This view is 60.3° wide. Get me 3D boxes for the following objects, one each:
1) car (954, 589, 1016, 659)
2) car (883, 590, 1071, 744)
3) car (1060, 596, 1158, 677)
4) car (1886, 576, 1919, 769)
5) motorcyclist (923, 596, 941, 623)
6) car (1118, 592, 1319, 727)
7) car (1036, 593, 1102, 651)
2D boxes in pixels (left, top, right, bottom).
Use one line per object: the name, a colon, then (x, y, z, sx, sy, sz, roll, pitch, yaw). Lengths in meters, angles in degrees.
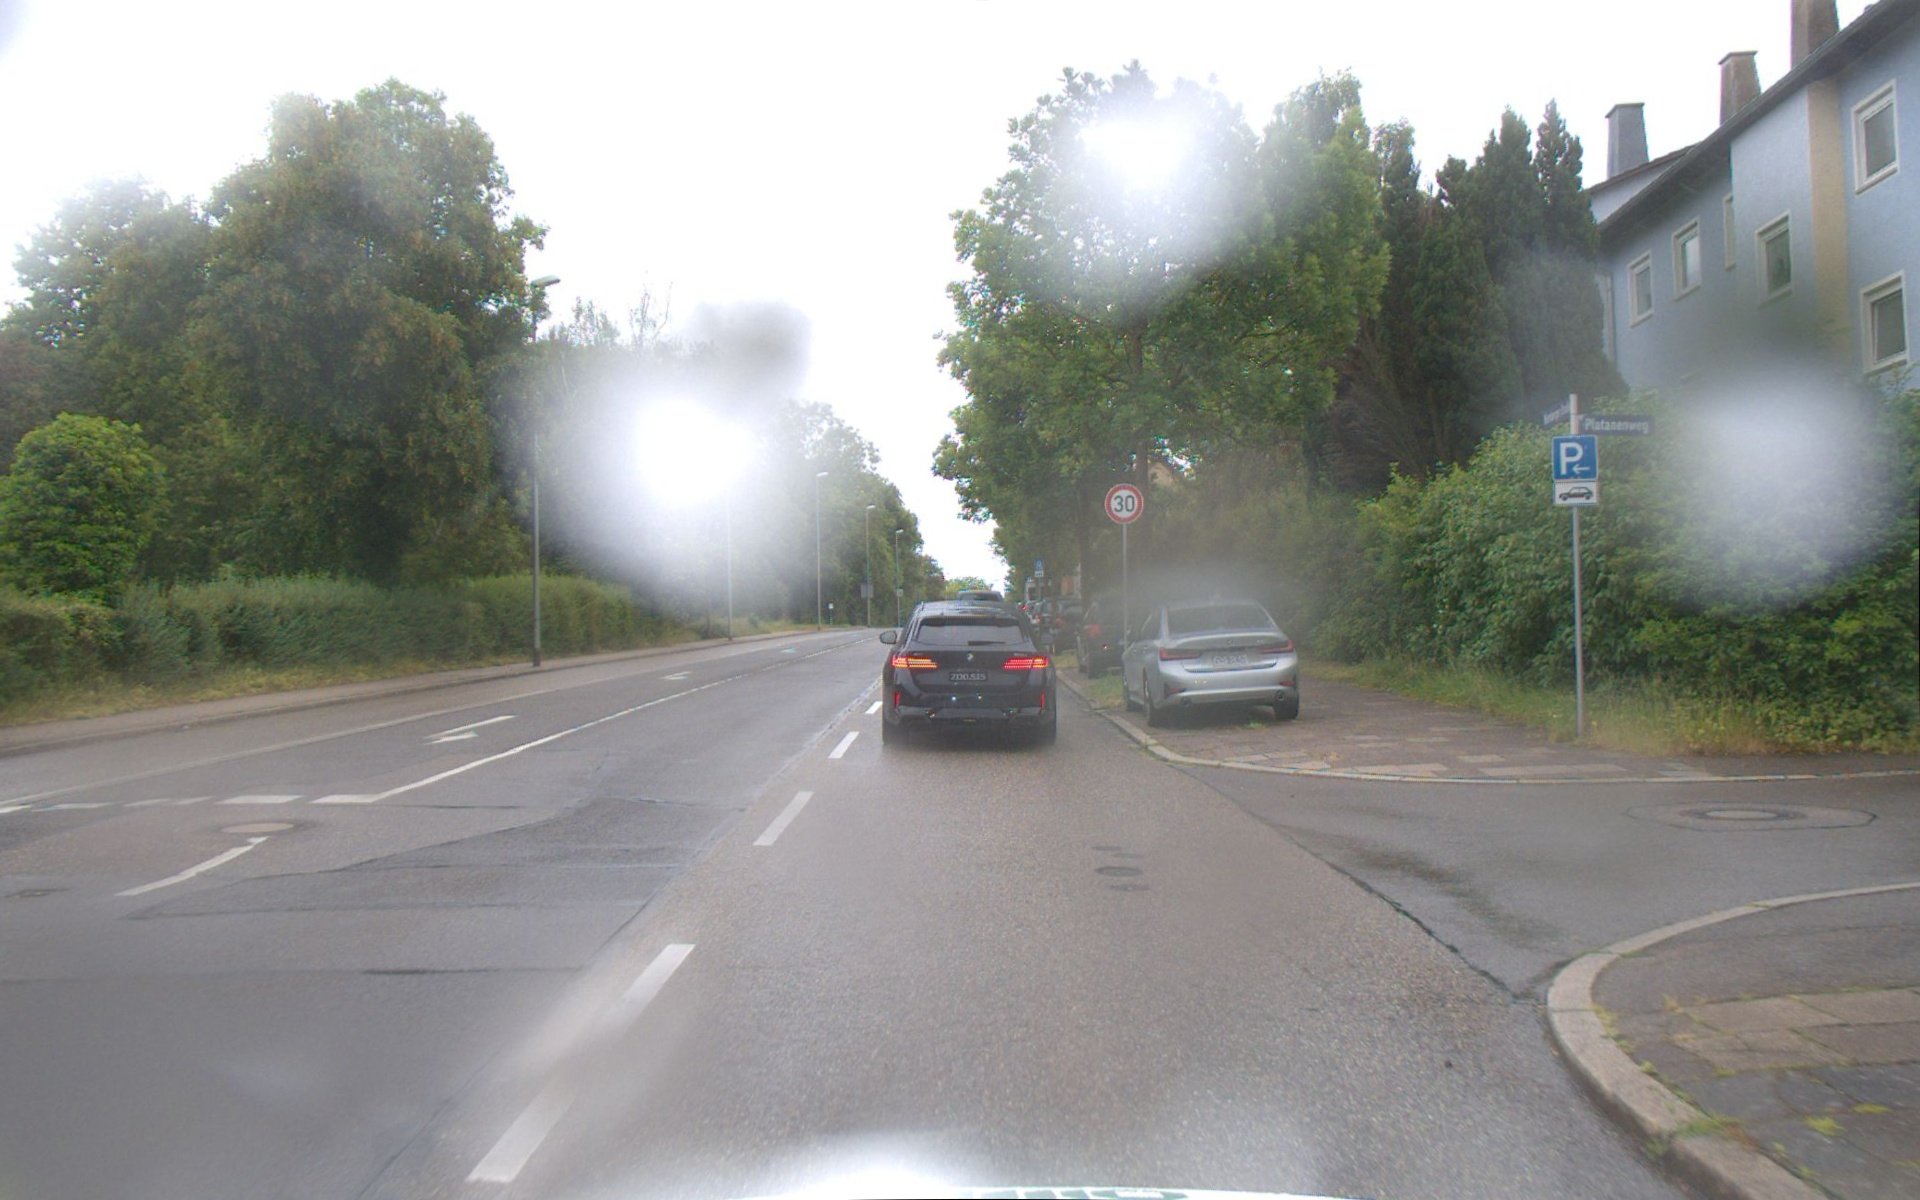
car: (0.700, 0.654, 48.133, 1.596, 1.865, 3.999, -2, 1, -1)
car: (0.158, 0.668, 18.582, 1.858, 1.515, 4.000, 1, 0, 0)
car: (2.918, 0.674, 32.906, 1.557, 1.486, 3.562, -1, 0, -1)
car: (9.487, 0.432, 12.532, 3.906, 1.514, 1.700, -4, 0, 0)
motorcyclist: (-1.680, 0.568, 98.996, 1.018, 1.595, 0.855, 1, -1, -2)
car: (3.113, 0.661, 20.784, 1.895, 1.467, 4.408, -1, 0, 1)
car: (3.017, 0.590, 46.470, 1.557, 1.512, 3.562, -1, 0, -1)
